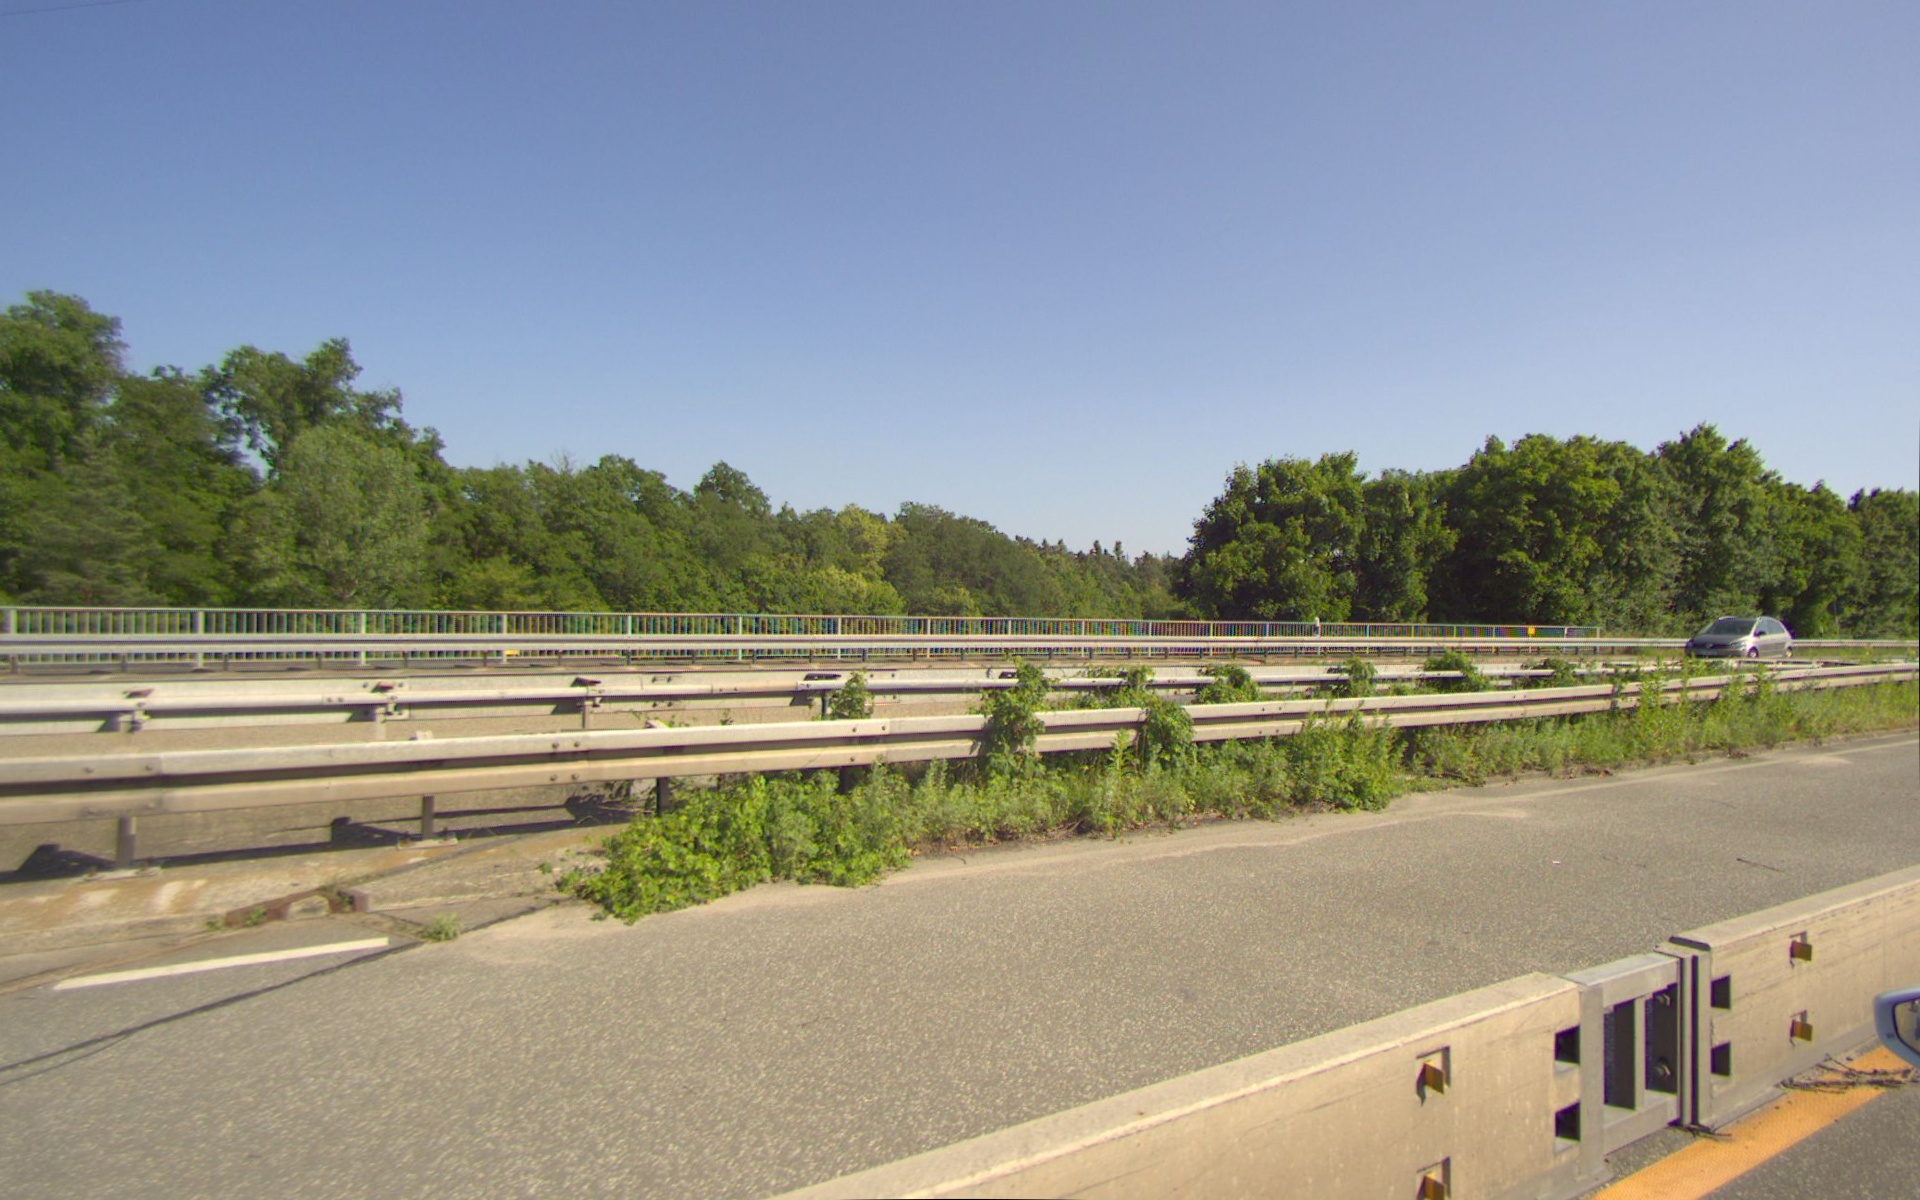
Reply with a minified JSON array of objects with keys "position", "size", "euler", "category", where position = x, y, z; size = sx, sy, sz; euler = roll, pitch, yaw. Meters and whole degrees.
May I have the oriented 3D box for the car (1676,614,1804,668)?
[{"position":[24.778,1.280,31.884],"size":[4.371,1.604,1.755],"euler":[1,-1,-31],"category":"car"}]
